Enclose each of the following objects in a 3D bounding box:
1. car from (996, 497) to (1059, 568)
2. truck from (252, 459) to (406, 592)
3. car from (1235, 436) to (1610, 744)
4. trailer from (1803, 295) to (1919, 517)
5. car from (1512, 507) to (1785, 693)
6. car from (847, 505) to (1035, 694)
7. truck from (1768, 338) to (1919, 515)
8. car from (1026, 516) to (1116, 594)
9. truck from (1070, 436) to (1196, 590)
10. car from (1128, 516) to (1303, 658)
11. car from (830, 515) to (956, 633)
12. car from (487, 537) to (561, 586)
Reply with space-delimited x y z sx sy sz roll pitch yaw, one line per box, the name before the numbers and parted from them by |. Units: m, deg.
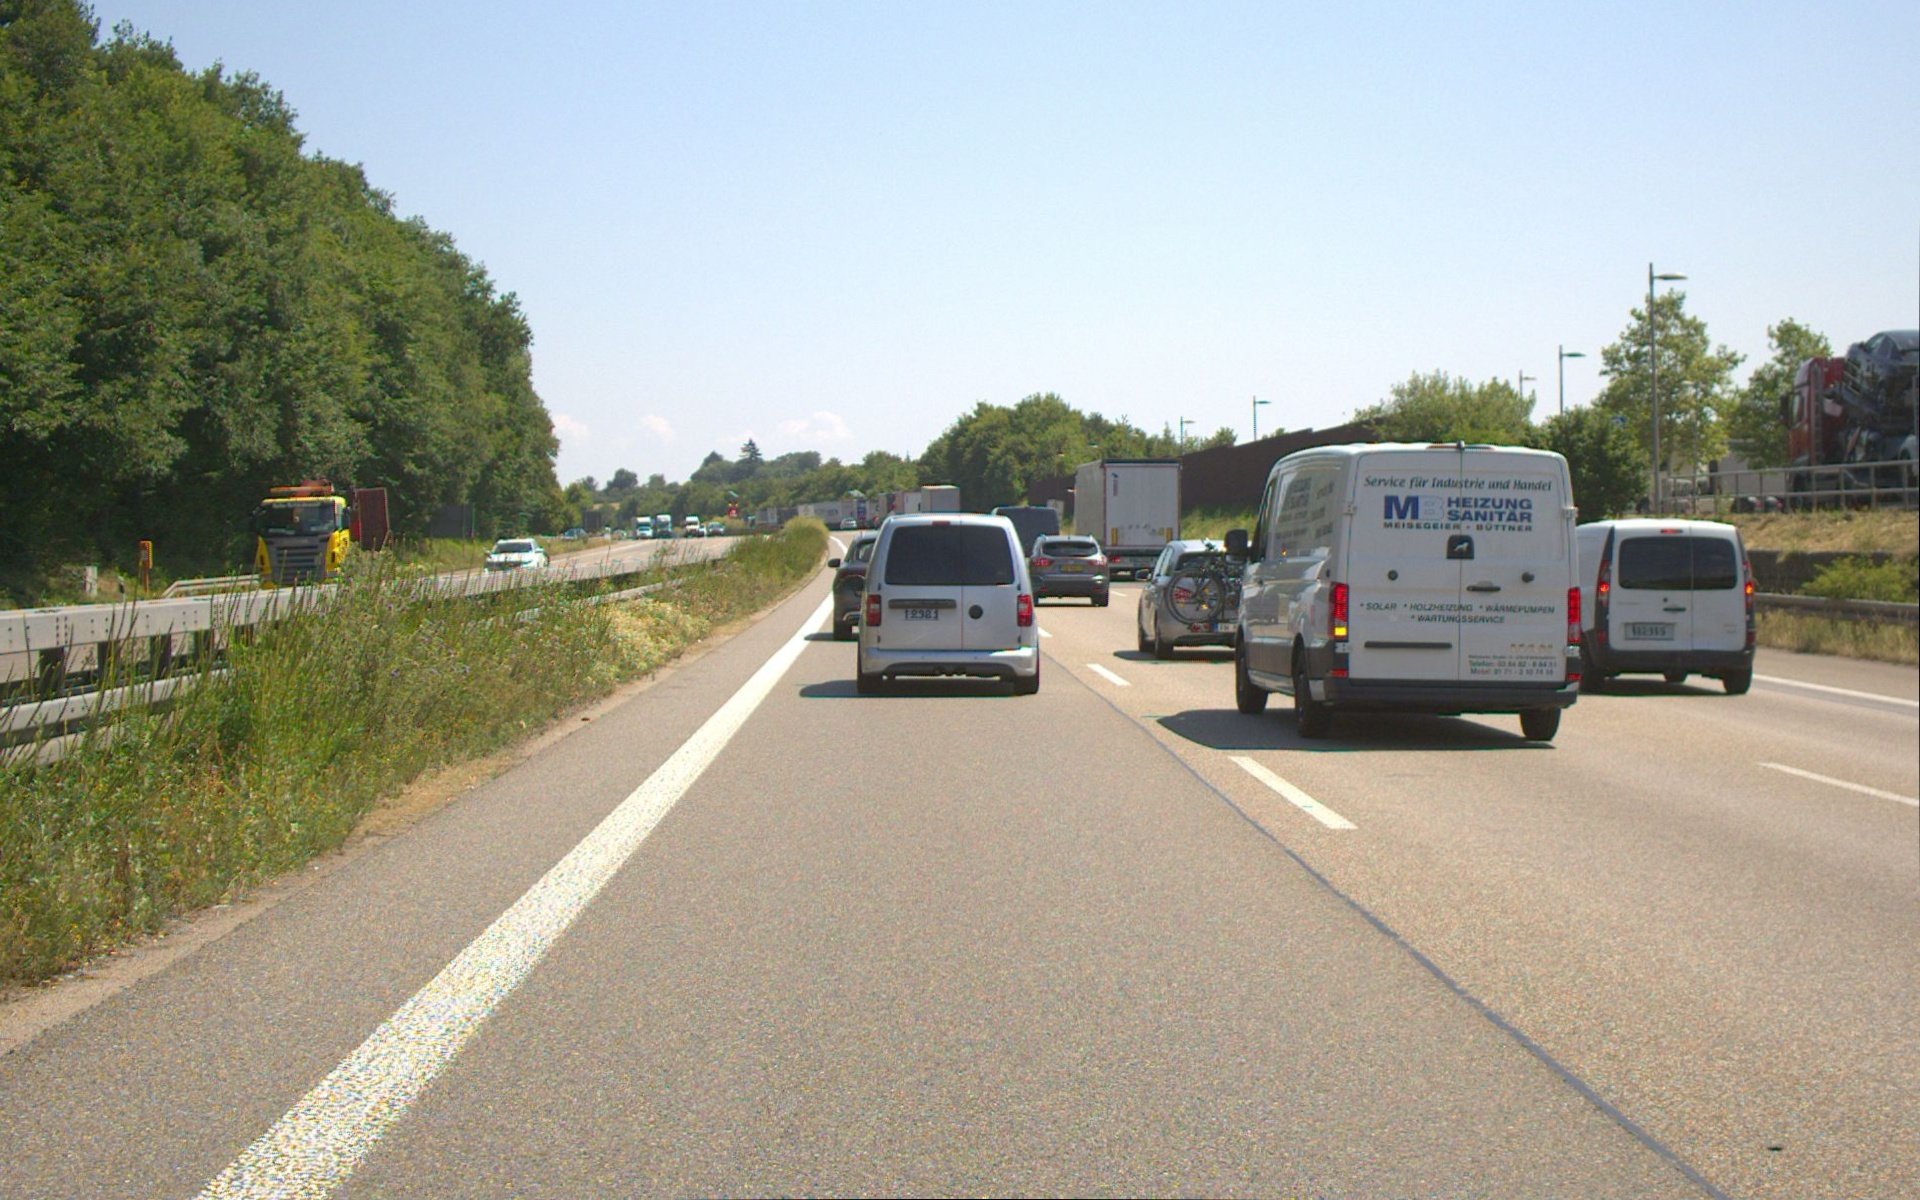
car | 1.836 -1.840 94.919 1.674 1.885 4.088 -1 1 1
truck | -18.860 -2.189 103.377 2.782 3.726 11.159 1 1 -1
car | 3.620 -0.110 28.000 2.181 2.246 5.364 1 1 -1
trailer | 20.243 -3.881 67.211 2.605 4.243 18.423 1 1 -1
car | 7.262 -0.029 36.660 1.950 1.831 4.179 -1 1 -1
car | -0.159 -0.033 34.664 1.745 1.758 4.088 -1 1 1
truck | 20.070 -3.860 77.566 2.602 3.814 4.000 1 1 -1
car | 2.450 -0.999 76.737 1.902 1.666 4.088 -1 1 1
truck | 5.864 -2.925 119.089 3.788 4.982 12.519 1 1 1
car | 3.269 -0.188 44.628 1.976 1.727 4.088 -1 1 1
car | -0.987 -0.409 52.351 1.745 1.695 4.088 -1 1 1
car | -15.683 -1.390 123.923 1.993 1.665 5.612 -3 1 -1
